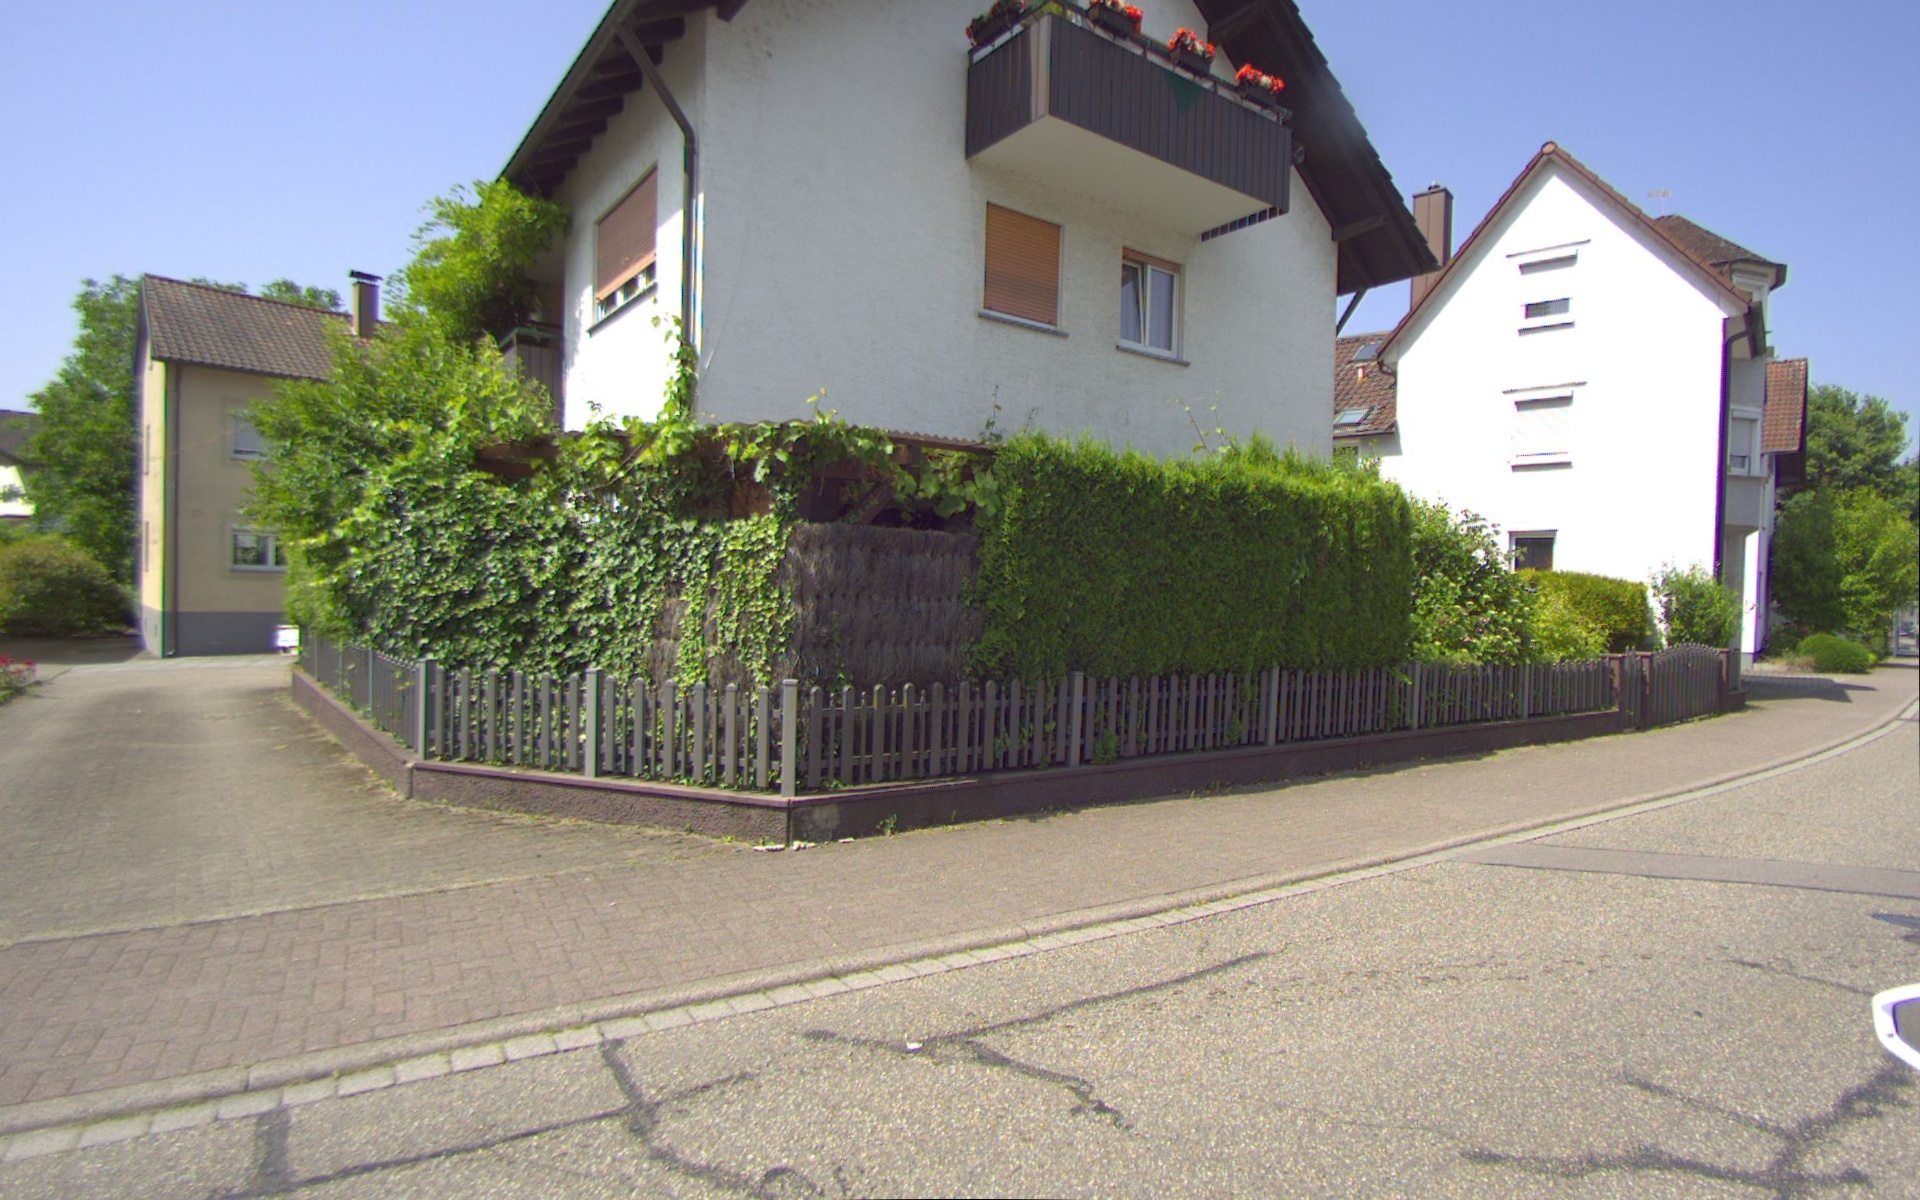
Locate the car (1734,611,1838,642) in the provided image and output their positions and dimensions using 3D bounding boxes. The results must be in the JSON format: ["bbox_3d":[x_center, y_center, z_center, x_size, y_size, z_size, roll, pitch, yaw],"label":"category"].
[{"bbox_3d":[43.288,1.399,52.685,4.114,1.559,1.764,-1,-1,43],"label":"car"}]

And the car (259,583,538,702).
[{"bbox_3d":[-9.458,0.729,17.459,1.694,1.779,4.677,0,-2,8],"label":"car"}]
